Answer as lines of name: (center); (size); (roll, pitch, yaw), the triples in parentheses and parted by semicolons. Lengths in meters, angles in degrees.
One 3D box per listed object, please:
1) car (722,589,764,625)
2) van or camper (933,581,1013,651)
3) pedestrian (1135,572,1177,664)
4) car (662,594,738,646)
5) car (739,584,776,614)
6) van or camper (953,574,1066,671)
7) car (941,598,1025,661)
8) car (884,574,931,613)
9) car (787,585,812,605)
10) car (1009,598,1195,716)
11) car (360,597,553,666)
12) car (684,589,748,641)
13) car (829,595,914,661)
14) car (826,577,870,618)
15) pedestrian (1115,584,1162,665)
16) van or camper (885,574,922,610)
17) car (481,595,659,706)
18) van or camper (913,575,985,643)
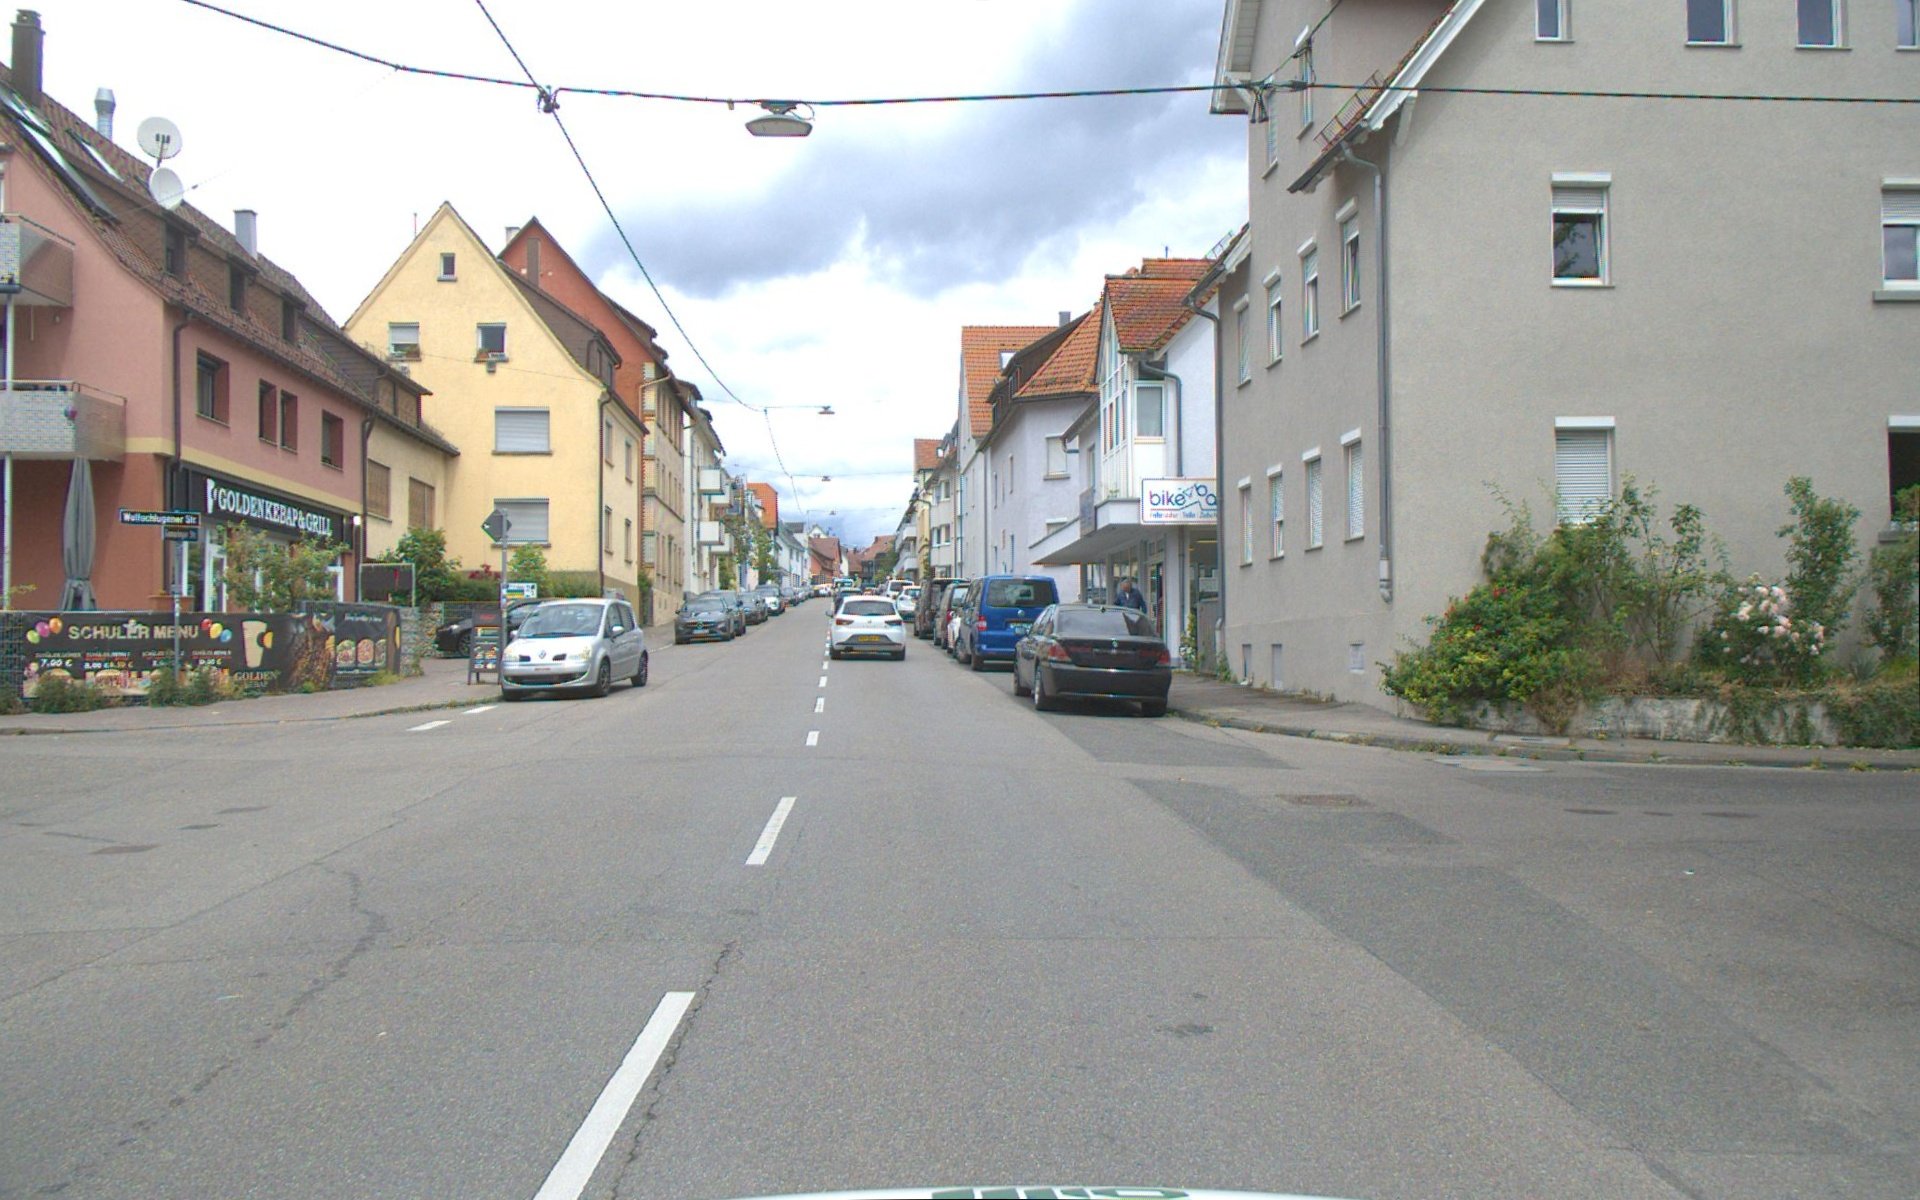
car: (-9.911, 0.311, 75.776); (1.610, 1.499, 4.175); (-3, 1, -4)
van or camper: (0.314, 0.425, 47.830); (1.835, 1.860, 4.675); (2, 0, -5)
pedestrian: (4.420, 0.397, 37.257); (0.745, 2.049, 0.618); (0, 0, 31)
car: (-8.494, 0.620, 54.294); (1.954, 1.498, 4.241); (-3, 1, -3)
car: (-11.789, -0.069, 96.431); (1.954, 1.680, 3.997); (0, 0, -4)
van or camper: (0.989, 0.435, 35.888); (1.889, 1.959, 4.826); (0, 0, -5)
car: (0.526, 0.709, 42.133); (1.681, 1.461, 4.634); (1, 0, -5)
car: (-2.477, -0.305, 77.244); (1.903, 1.722, 3.995); (2, 0, -6)
car: (-13.574, -0.436, 139.974); (1.954, 1.680, 4.175); (0, 0, -4)
car: (1.981, 0.766, 24.598); (1.954, 1.544, 4.887); (1, 0, -5)
car: (-12.284, 0.789, 40.548); (4.146, 1.498, 1.998); (-2, -3, -4)
car: (-8.863, 0.508, 60.385); (1.955, 1.679, 4.549); (-3, 1, -5)
car: (-2.138, 0.625, 39.032); (1.903, 1.464, 3.996); (0, 0, -5)
car: (-5.837, -0.134, 85.828); (2.110, 2.049, 3.996); (1, 0, -5)
pedestrian: (3.893, 0.522, 36.033); (0.854, 1.755, 0.618); (0, 0, 31)
van or camper: (-3.421, -0.484, 99.550); (1.903, 2.090, 4.557); (0, 0, -6)
car: (-6.466, 0.783, 27.847); (1.796, 1.605, 4.033); (-4, 0, 2)
van or camper: (-0.429, 0.277, 55.444); (1.954, 2.102, 5.939); (2, 0, -4)
